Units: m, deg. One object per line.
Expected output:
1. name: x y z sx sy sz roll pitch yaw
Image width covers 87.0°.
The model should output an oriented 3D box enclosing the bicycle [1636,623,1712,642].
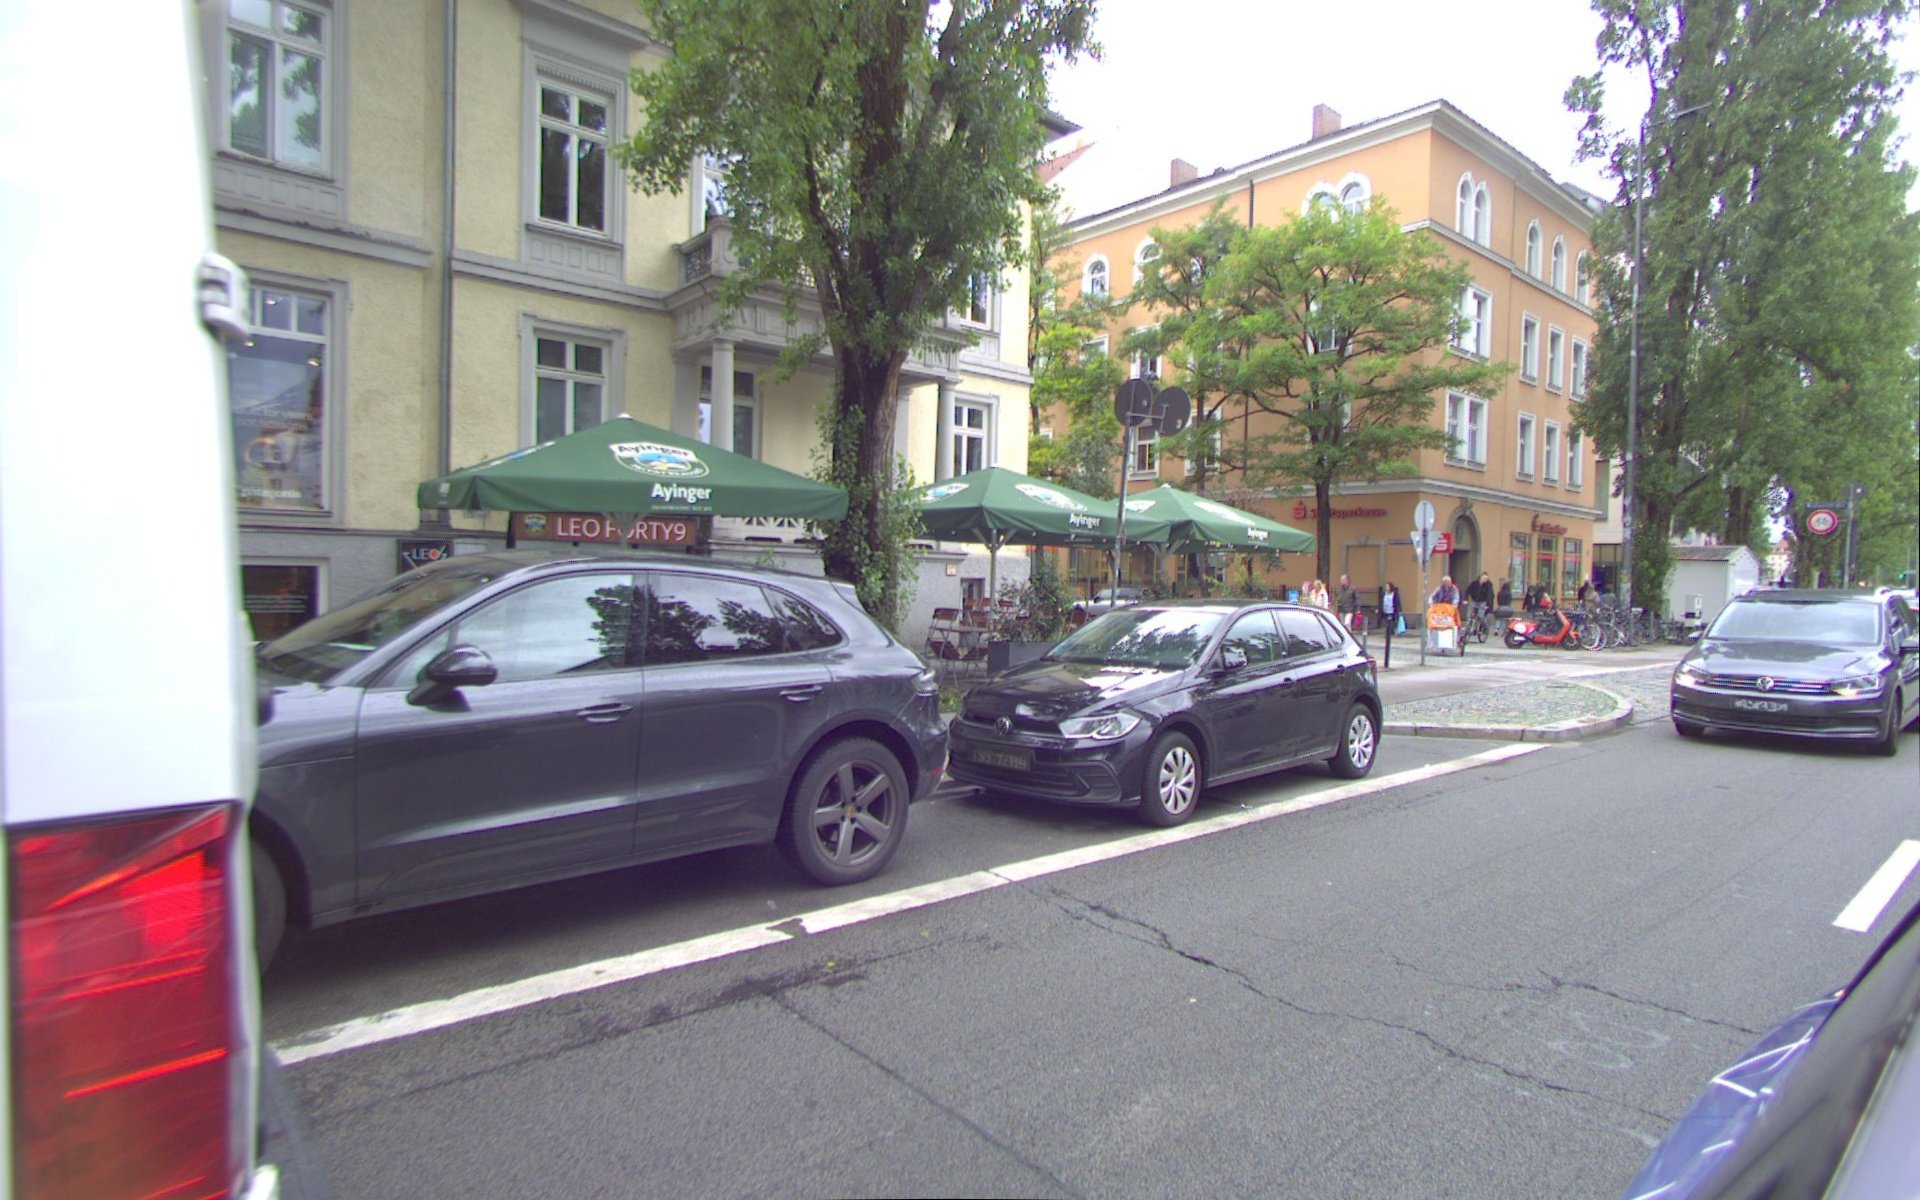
1. bicycle: 20.249 0.913 28.726 1.671 0.378 0.818 4 3 42

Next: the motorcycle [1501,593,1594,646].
1. motorcycle: 14.667 0.476 25.314 1.939 1.236 0.510 2 1 25

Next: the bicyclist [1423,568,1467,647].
1. bicyclist: 11.202 0.157 23.391 0.821 1.779 0.663 1 1 20

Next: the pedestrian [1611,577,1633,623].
1. pedestrian: 24.884 -0.012 38.015 0.617 1.715 0.566 0 0 41

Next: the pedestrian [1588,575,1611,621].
1. pedestrian: 24.214 -0.068 38.322 0.632 1.715 0.566 0 0 43

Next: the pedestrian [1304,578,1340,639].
1. pedestrian: 9.680 0.223 27.081 0.564 1.590 0.699 0 0 -38

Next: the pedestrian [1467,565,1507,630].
1. pedestrian: 16.214 -0.081 31.130 0.788 1.973 0.839 0 0 -40

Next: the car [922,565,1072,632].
1. car: 0.953 -0.064 28.637 1.934 1.723 4.429 0 0 -36

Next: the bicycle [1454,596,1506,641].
1. bicycle: 13.838 0.459 26.906 0.735 1.134 2.071 2 1 41

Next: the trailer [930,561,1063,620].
1. trailer: 1.271 -0.377 37.917 1.873 2.054 5.247 1 0 -41

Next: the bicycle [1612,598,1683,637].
1. bicycle: 19.349 0.493 28.493 1.597 1.022 0.337 2 1 43

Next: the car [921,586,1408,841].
1. car: 1.729 0.643 7.753 3.884 1.434 1.696 0 1 -43

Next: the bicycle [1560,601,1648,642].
1. bicycle: 17.466 0.567 27.489 0.551 1.022 1.945 0 1 -39

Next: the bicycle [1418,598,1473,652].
1. bicycle: 11.085 0.543 23.163 0.876 1.134 2.088 2 1 20

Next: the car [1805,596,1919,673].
1. car: 19.444 0.664 20.759 3.919 1.451 1.620 0 0 -23

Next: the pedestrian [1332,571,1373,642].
1. pedestrian: 10.019 0.156 25.850 0.718 1.788 0.699 0 0 -38

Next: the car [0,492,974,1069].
1. car: -2.136 0.501 4.695 4.371 1.658 1.805 0 1 -42

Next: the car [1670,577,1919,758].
1. car: 9.468 0.587 11.084 4.120 1.611 1.881 0 1 -42

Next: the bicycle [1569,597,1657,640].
1. bicycle: 18.022 0.492 27.971 0.551 1.098 1.945 0 1 -39

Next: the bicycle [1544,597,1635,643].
1. bicycle: 16.510 0.507 26.570 0.551 1.102 1.945 0 1 -39

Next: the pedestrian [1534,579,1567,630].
1. pedestrian: 19.011 0.140 32.594 0.603 1.590 0.746 0 0 -38

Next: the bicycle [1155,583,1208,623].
1. bicycle: 7.950 0.105 36.377 0.551 1.389 1.945 1 0 -39

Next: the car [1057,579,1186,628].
1. car: 5.325 0.097 33.781 1.873 1.539 3.993 0 1 -41

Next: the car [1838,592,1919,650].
1. car: 27.157 0.569 29.504 4.421 1.572 1.787 0 1 -42

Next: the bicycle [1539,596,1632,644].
1. bicycle: 16.095 0.494 26.072 0.551 1.151 1.945 0 1 -39

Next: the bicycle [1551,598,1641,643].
1. bicycle: 17.015 0.532 27.103 0.551 1.089 1.945 0 1 -39

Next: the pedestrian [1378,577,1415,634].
1. pedestrian: 12.417 0.154 28.787 0.651 1.590 0.746 0 0 -38

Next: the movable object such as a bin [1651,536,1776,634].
1. movable object such as a bin: 26.191 -0.541 35.147 4.463 3.175 2.445 0 3 -41

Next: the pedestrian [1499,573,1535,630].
1. pedestrian: 16.882 0.034 30.673 0.758 1.682 0.745 0 0 -42

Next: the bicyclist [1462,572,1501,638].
1. bicyclist: 13.886 0.131 26.951 0.739 1.708 0.737 2 1 42

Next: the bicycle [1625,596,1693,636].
1. bicycle: 20.639 0.467 29.910 1.593 1.098 0.319 2 1 28

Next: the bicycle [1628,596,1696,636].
1. bicycle: 20.499 0.456 29.574 1.588 1.098 0.339 2 1 28

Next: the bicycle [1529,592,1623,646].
1. bicycle: 15.599 0.461 25.680 0.551 1.255 1.945 1 1 -39

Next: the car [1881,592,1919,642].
1. car: 33.346 0.568 34.984 4.421 1.634 1.787 0 1 -42
